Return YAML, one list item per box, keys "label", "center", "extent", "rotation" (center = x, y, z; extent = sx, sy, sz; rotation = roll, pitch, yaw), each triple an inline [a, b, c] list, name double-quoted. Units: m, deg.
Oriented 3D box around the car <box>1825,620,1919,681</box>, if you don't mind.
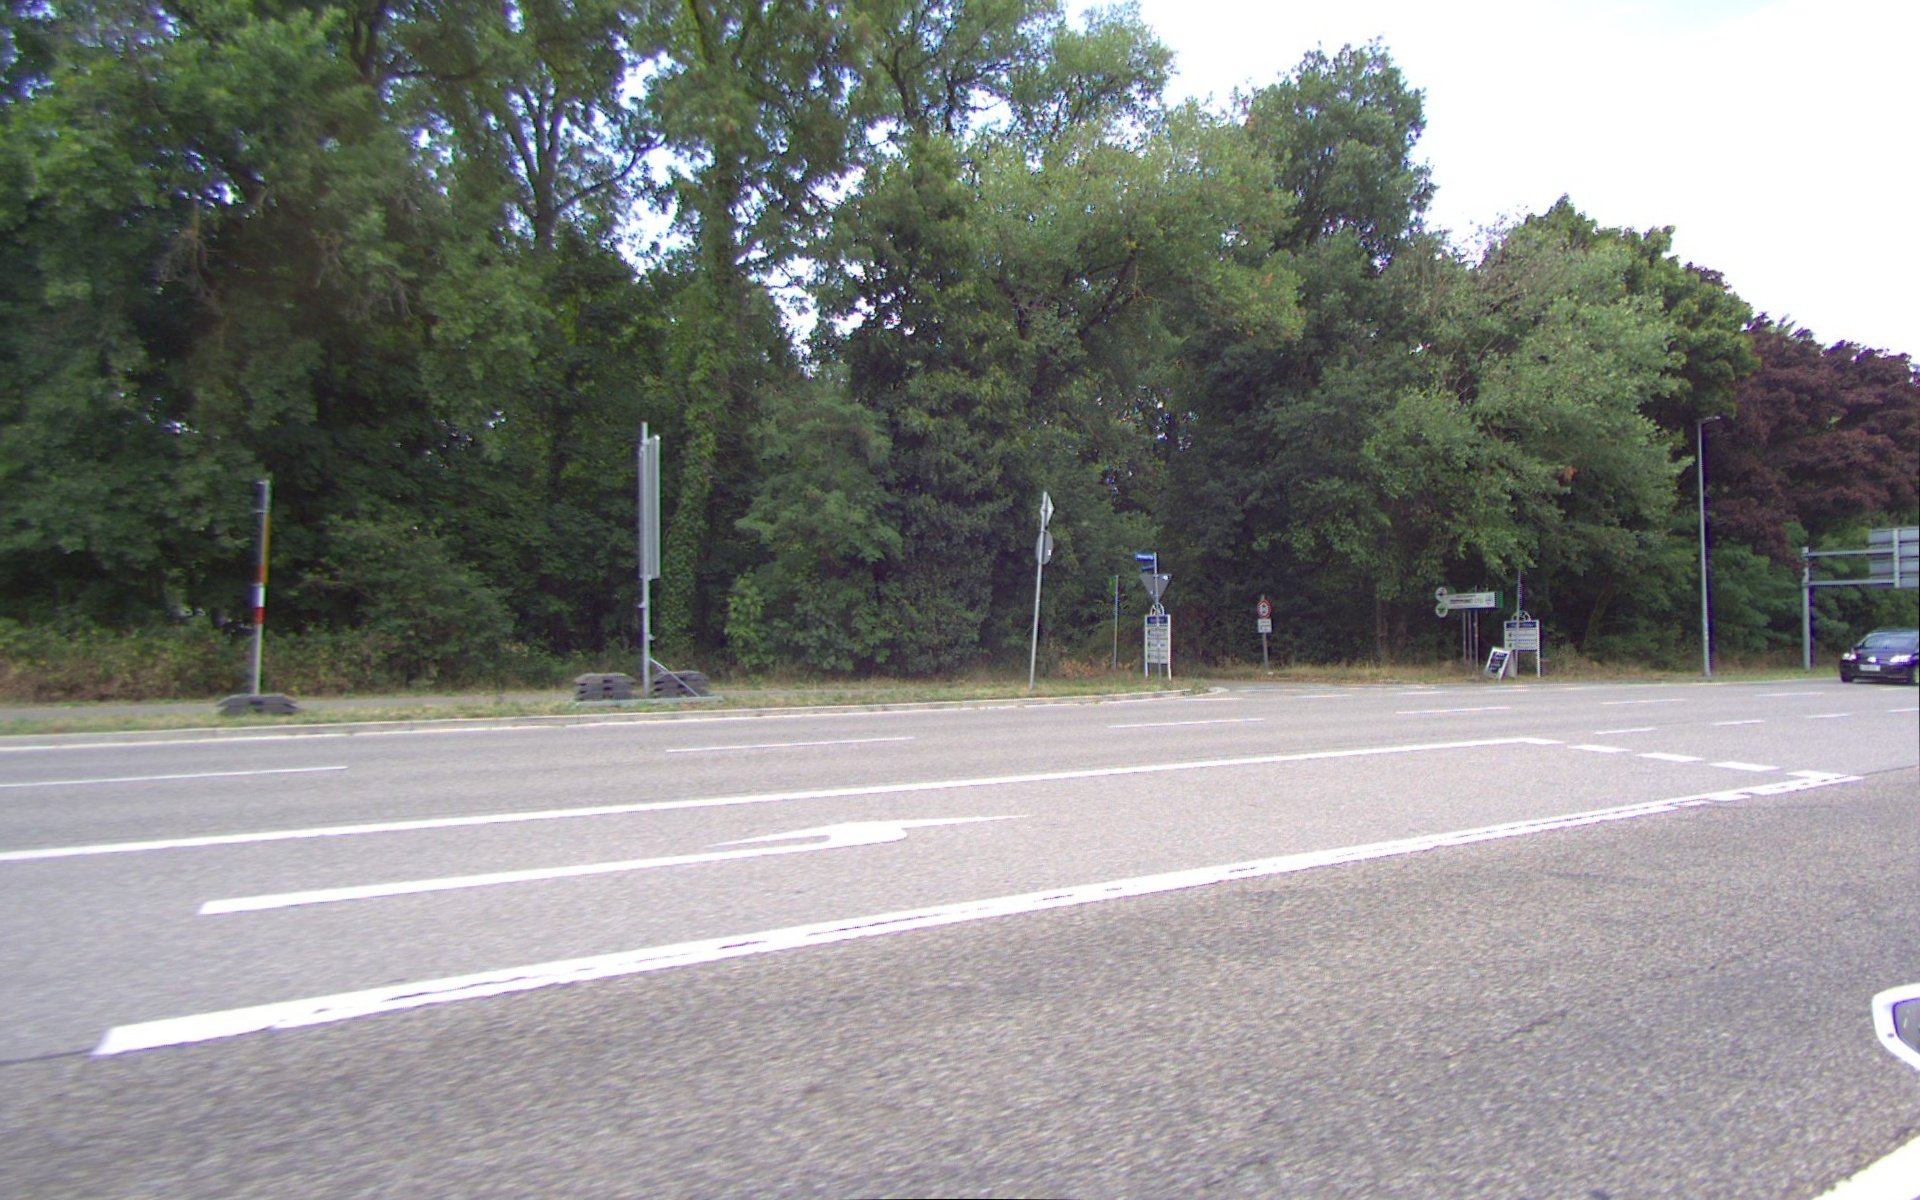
- label: "car"
  center: [25.823, 1.381, 27.673]
  extent: [3.952, 1.495, 1.733]
  rotation: [2, 0, -29]
